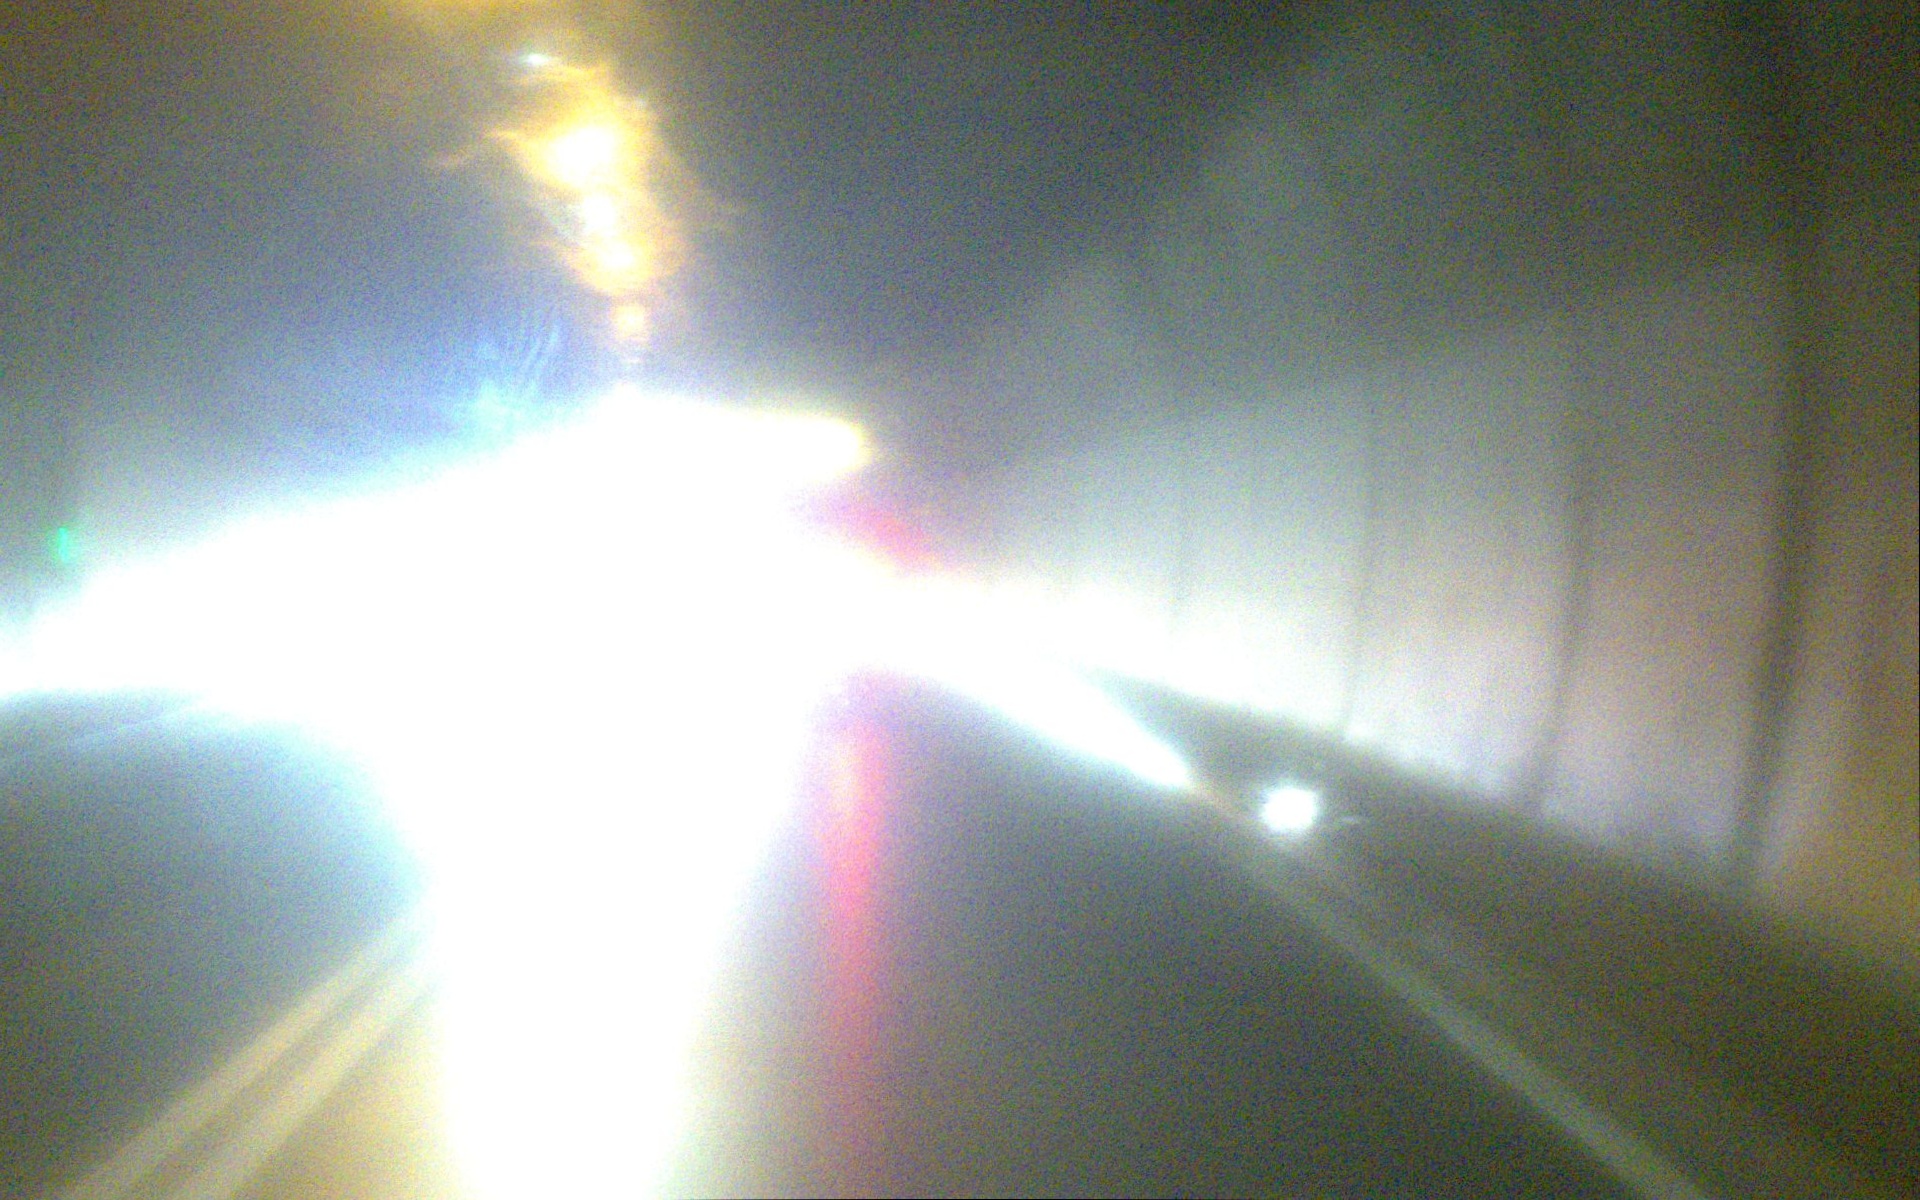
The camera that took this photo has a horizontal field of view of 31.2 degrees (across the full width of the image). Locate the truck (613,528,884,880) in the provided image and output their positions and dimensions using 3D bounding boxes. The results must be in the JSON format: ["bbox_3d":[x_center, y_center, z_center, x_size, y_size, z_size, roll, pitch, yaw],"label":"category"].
[{"bbox_3d":[-2.033,0.852,33.557,2.262,3.000,7.416,2,1,-3],"label":"truck"}]

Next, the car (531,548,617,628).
[{"bbox_3d":[-7.559,-0.257,67.239,1.620,1.512,4.138,0,1,-7],"label":"car"}]
